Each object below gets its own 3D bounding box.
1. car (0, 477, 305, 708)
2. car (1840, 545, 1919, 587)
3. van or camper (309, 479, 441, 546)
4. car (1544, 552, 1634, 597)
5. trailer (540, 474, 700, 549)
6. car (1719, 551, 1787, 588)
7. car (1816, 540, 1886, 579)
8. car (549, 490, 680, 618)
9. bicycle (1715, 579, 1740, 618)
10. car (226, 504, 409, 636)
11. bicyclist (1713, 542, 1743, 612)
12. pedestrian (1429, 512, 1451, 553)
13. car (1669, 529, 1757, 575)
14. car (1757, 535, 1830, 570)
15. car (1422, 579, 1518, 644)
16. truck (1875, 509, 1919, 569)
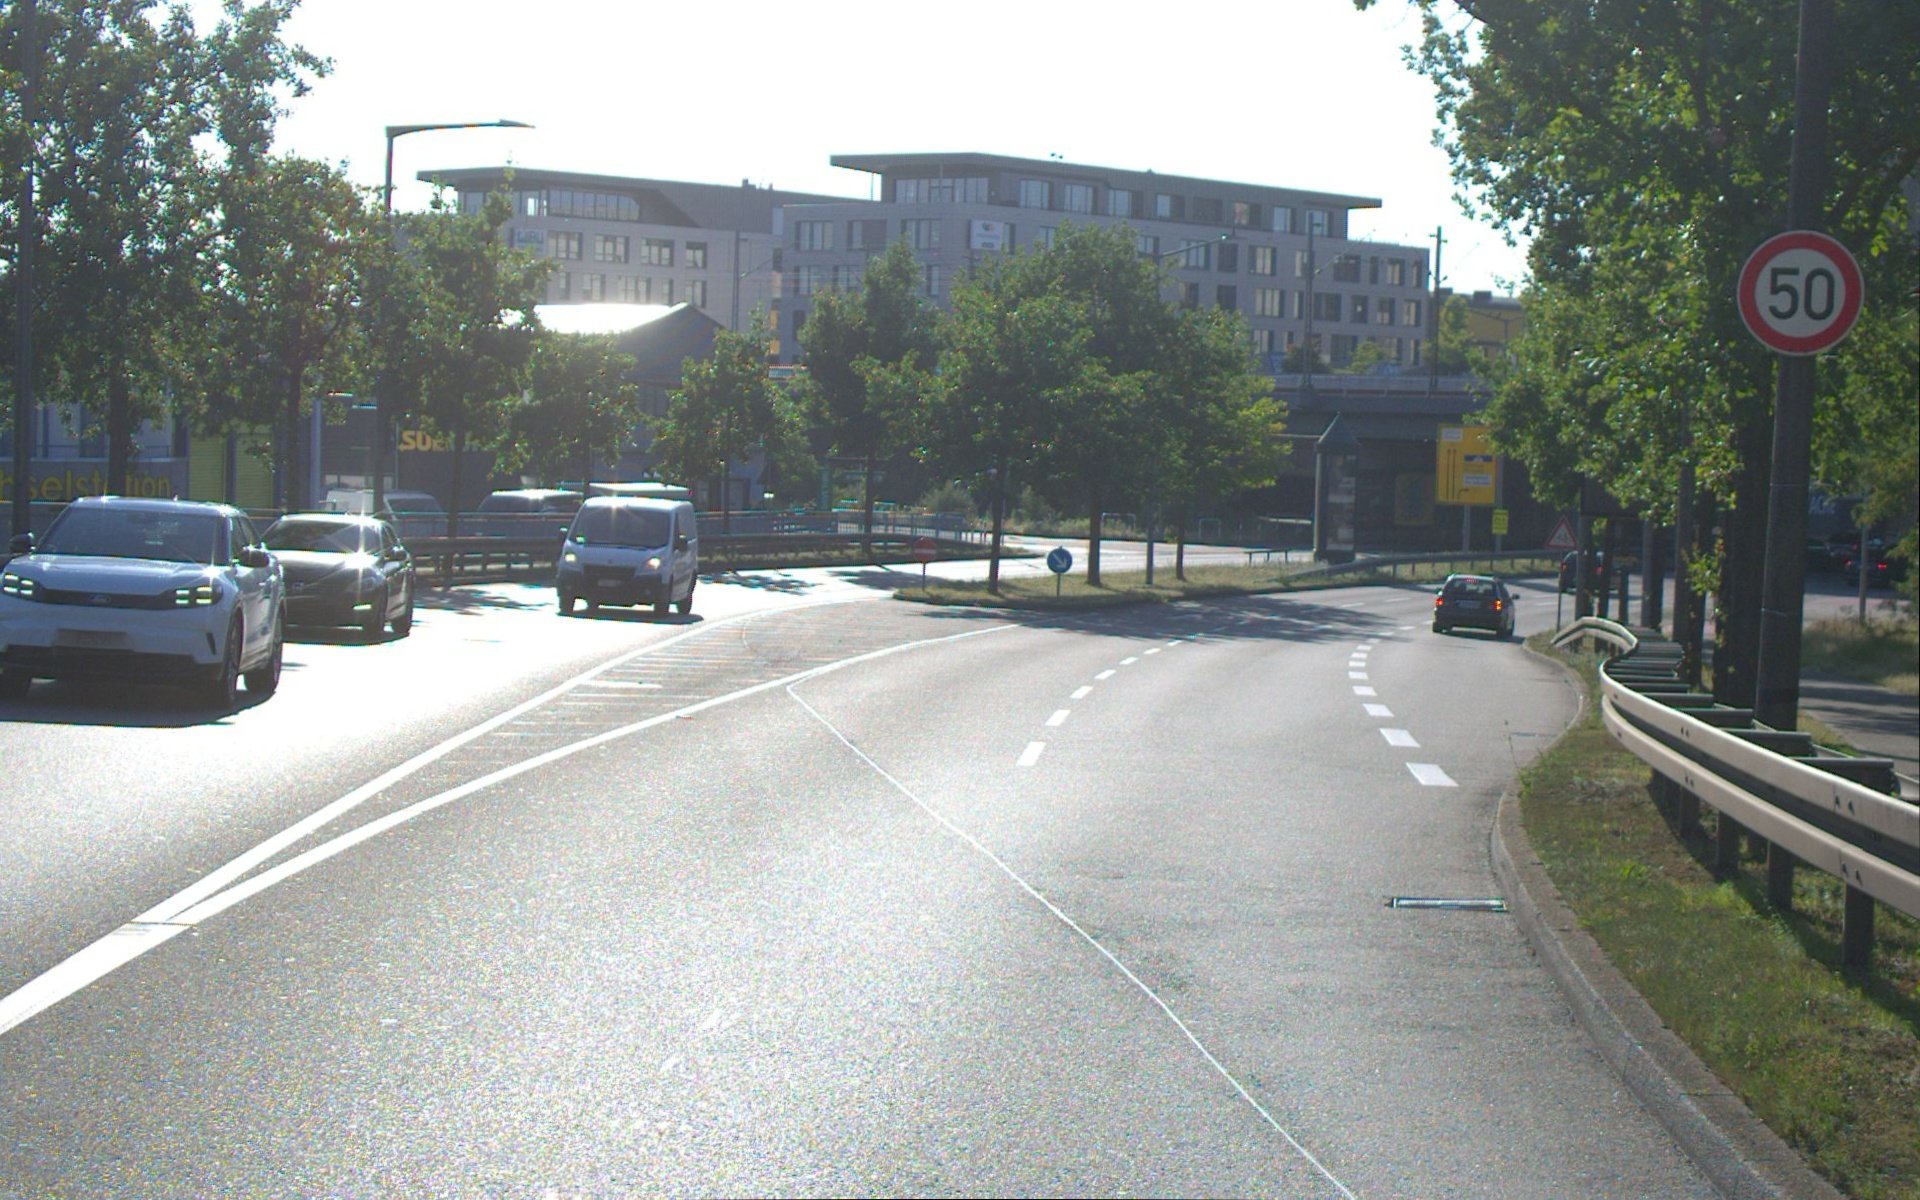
[{"bbox_3d":[-6.573,-0.075,28.064,1.827,1.584,4.649,5,0,-5],"label":"car"},{"bbox_3d":[36.346,-1.355,135.379,1.744,1.449,4.597,5,5,35],"label":"car"},{"bbox_3d":[-18.455,-2.768,108.338,1.994,1.919,4.227,2,1,-44],"label":"van or camper"},{"bbox_3d":[21.571,-0.858,117.854,1.585,1.403,3.824,5,3,33],"label":"car"},{"bbox_3d":[-9.838,-2.557,100.080,2.421,1.963,6.601,4,2,14],"label":"trailer"},{"bbox_3d":[30.951,-1.197,134.128,1.550,1.418,3.411,1,2,33],"label":"car"},{"bbox_3d":[39.194,-1.782,151.254,1.844,1.713,3.993,1,1,32],"label":"car"},{"bbox_3d":[-5.773,-0.791,57.906,1.878,2.007,5.261,2,1,-3],"label":"car"},{"bbox_3d":[21.392,-0.045,95.851,0.579,0.960,2.885,4,2,12],"label":"bicycle"},{"bbox_3d":[-7.863,-0.397,42.409,1.772,1.460,4.384,3,1,-5],"label":"car"},{"bbox_3d":[21.428,-0.638,95.888,0.682,1.900,0.833,4,2,12],"label":"bicyclist"},{"bbox_3d":[22.932,-3.227,164.340,0.695,1.897,0.663,5,3,39],"label":"pedestrian"},{"bbox_3d":[30.630,-1.954,139.727,1.833,1.732,4.452,4,3,35],"label":"car"},{"bbox_3d":[35.494,-2.016,146.309,1.845,1.435,3.668,1,1,34],"label":"car"},{"bbox_3d":[12.429,0.254,83.599,1.995,1.503,3.998,1,1,13],"label":"car"},{"bbox_3d":[43.968,-2.758,157.052,2.033,2.547,5.525,5,3,38],"label":"truck"}]
